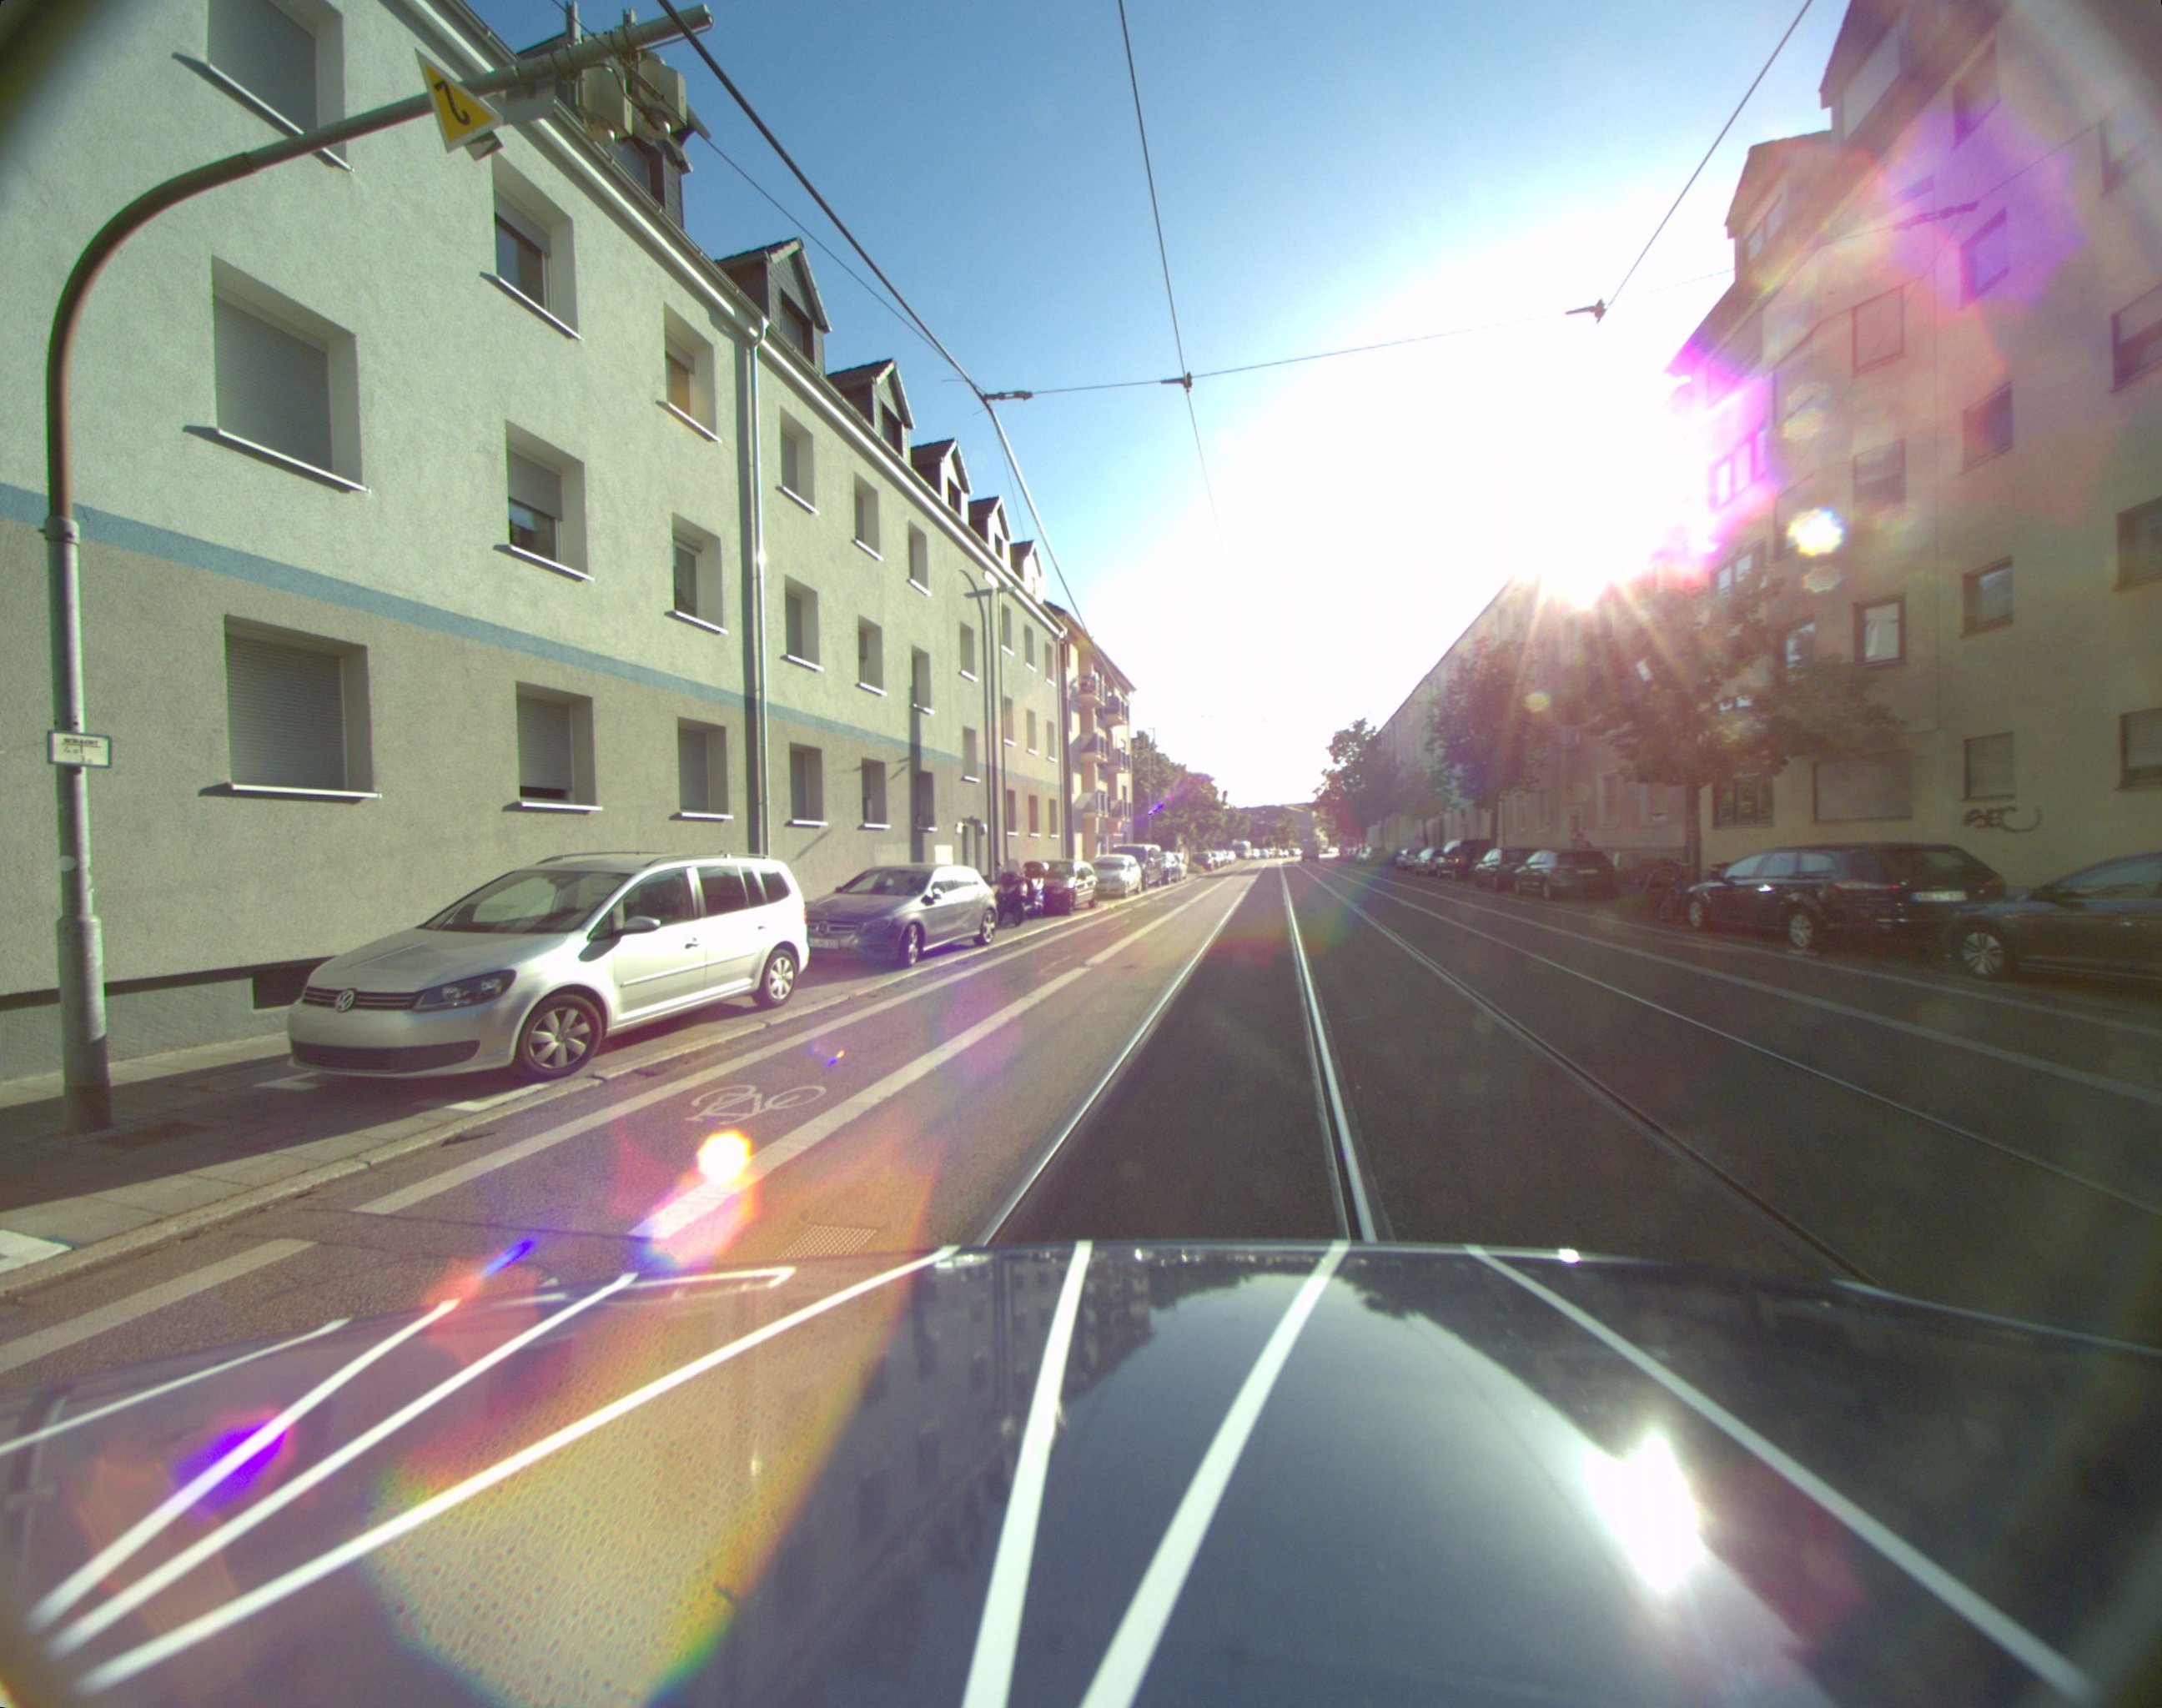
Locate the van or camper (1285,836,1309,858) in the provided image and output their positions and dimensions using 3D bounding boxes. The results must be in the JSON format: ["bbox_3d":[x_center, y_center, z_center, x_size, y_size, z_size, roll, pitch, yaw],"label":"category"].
[{"bbox_3d":[26.838,-0.847,94.705,2.373,2.538,6.840,-1,0,12],"label":"van or camper"}]

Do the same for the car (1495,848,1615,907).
[{"bbox_3d":[13.869,0.623,22.506,1.768,1.464,4.045,-4,0,14],"label":"car"}]

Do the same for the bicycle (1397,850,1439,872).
[{"bbox_3d":[19.689,0.403,44.435,2.147,1.136,0.660,-3,1,11],"label":"bicycle"}]

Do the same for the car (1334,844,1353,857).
[{"bbox_3d":[32.300,-0.423,93.628,1.686,1.542,3.954,-1,0,11],"label":"car"}]

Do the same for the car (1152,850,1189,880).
[{"bbox_3d":[4.992,0.569,42.000,1.555,1.533,3.636,0,1,15],"label":"car"}]

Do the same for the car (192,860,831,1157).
[{"bbox_3d":[-4.307,0.935,6.930,1.757,1.656,4.630,0,1,12],"label":"car"}]

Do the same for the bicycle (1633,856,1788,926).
[{"bbox_3d":[12.511,0.743,15.185,2.296,1.326,0.700,-1,1,14],"label":"bicycle"}]

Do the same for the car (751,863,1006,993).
[{"bbox_3d":[-2.894,0.967,12.020,1.866,1.546,4.371,0,1,17],"label":"car"}]

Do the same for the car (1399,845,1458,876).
[{"bbox_3d":[17.990,0.306,39.552,1.768,1.464,4.863,-2,0,13],"label":"car"}]

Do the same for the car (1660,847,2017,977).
[{"bbox_3d":[10.981,0.698,11.599,1.767,1.533,4.738,-1,0,16],"label":"car"}]

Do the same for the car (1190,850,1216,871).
[{"bbox_3d":[9.746,0.450,60.335,1.611,1.562,4.483,0,1,15],"label":"car"}]

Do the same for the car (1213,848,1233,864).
[{"bbox_3d":[14.931,0.196,79.846,1.826,1.562,4.482,0,1,14],"label":"car"}]

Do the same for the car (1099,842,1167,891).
[{"bbox_3d":[2.343,0.463,32.778,1.932,1.910,5.009,0,1,16],"label":"car"}]

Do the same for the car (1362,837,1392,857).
[{"bbox_3d":[25.762,-0.615,66.187,1.686,1.614,4.051,-1,0,11],"label":"car"}]

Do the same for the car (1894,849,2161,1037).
[{"bbox_3d":[10.060,0.755,6.720,1.738,1.533,4.131,-1,0,9],"label":"car"}]

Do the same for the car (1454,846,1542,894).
[{"bbox_3d":[14.891,0.526,27.361,1.768,1.464,4.185,-4,0,15],"label":"car"}]

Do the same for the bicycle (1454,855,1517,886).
[{"bbox_3d":[16.425,0.674,30.897,2.115,1.099,0.747,-4,0,13],"label":"bicycle"}]

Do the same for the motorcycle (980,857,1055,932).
[{"bbox_3d":[-1.386,0.856,17.309,0.806,1.513,2.711,1,1,15],"label":"motorcycle"}]

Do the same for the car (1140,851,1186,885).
[{"bbox_3d":[4.099,0.634,37.560,1.611,1.562,4.223,0,1,15],"label":"car"}]

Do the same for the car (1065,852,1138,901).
[{"bbox_3d":[0.819,0.730,27.146,1.803,1.562,3.908,0,1,14],"label":"car"}]

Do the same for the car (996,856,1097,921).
[{"bbox_3d":[-0.824,0.855,20.873,1.610,1.562,3.908,0,1,16],"label":"car"}]

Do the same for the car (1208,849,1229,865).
[{"bbox_3d":[13.616,0.279,75.145,1.826,1.562,4.482,0,1,14],"label":"car"}]

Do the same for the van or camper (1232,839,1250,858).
[{"bbox_3d":[23.075,-0.820,109.436,2.088,2.548,5.699,-2,1,16],"label":"van or camper"}]

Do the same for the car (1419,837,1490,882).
[{"bbox_3d":[16.892,0.219,34.554,1.768,1.834,4.427,-4,0,12],"label":"car"}]

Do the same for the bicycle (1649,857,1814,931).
[{"bbox_3d":[12.327,0.758,14.476,2.296,1.326,0.700,-1,1,14],"label":"bicycle"}]

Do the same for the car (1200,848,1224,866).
[{"bbox_3d":[12.051,0.271,69.848,1.826,1.562,4.482,0,1,14],"label":"car"}]
